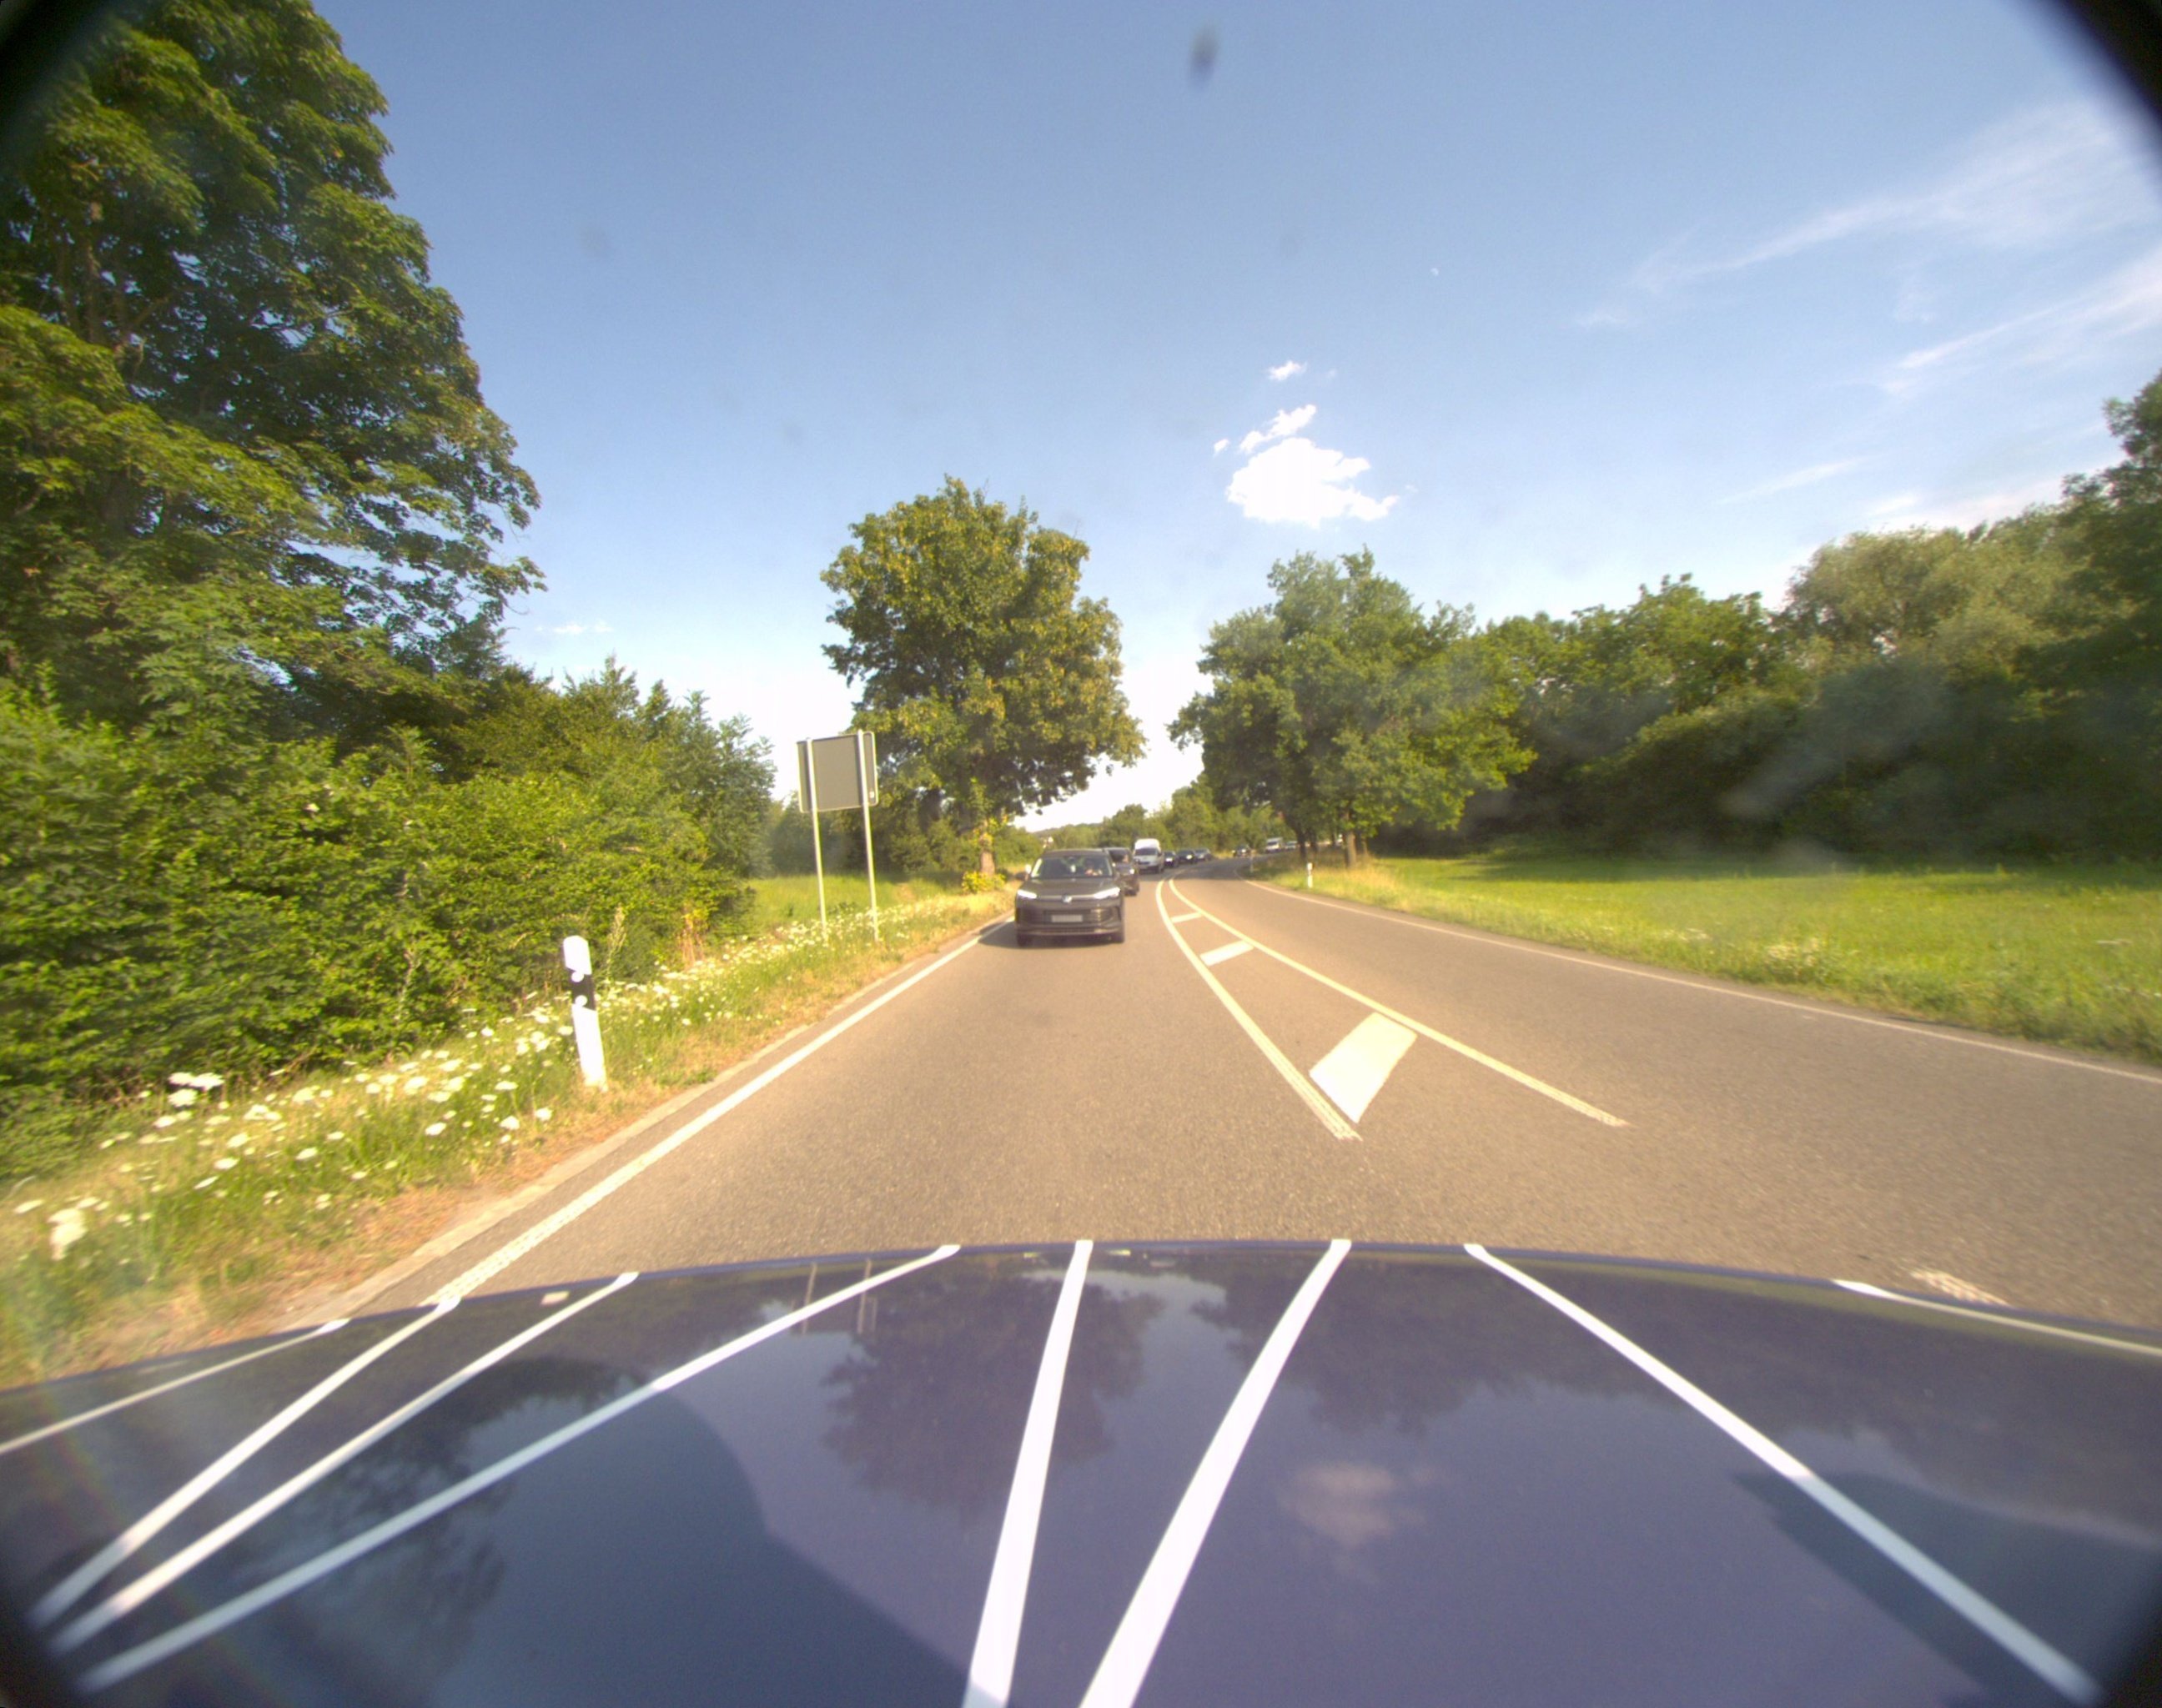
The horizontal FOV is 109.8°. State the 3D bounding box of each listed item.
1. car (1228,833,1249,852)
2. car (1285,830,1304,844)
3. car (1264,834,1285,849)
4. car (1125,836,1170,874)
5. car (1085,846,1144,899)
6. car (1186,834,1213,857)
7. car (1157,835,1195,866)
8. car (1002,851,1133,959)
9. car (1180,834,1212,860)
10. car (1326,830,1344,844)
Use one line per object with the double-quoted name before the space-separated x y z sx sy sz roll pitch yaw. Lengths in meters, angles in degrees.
"car" 21.389 -1.575 103.210 2.085 2.403 5.148 -2 1 18
"car" 39.019 -3.076 139.048 2.084 2.403 5.150 -2 1 30
"car" 32.360 -2.088 126.946 2.084 2.403 5.150 -2 1 30
"car" 4.674 -0.014 52.653 2.086 2.403 5.147 -2 1 15
"car" 1.328 0.608 27.868 1.922 1.718 4.703 -2 0 5
"car" 13.190 -0.951 84.422 2.085 2.403 5.148 -2 1 18
"car" 8.085 -0.326 64.105 2.085 2.403 5.148 -2 1 18
"car" -0.056 0.801 14.295 1.922 1.612 4.703 -2 0 5
"car" 11.199 -0.717 73.684 2.085 2.403 5.148 -2 1 18
"car" 48.231 -3.253 144.163 2.084 2.403 5.150 -2 1 30
